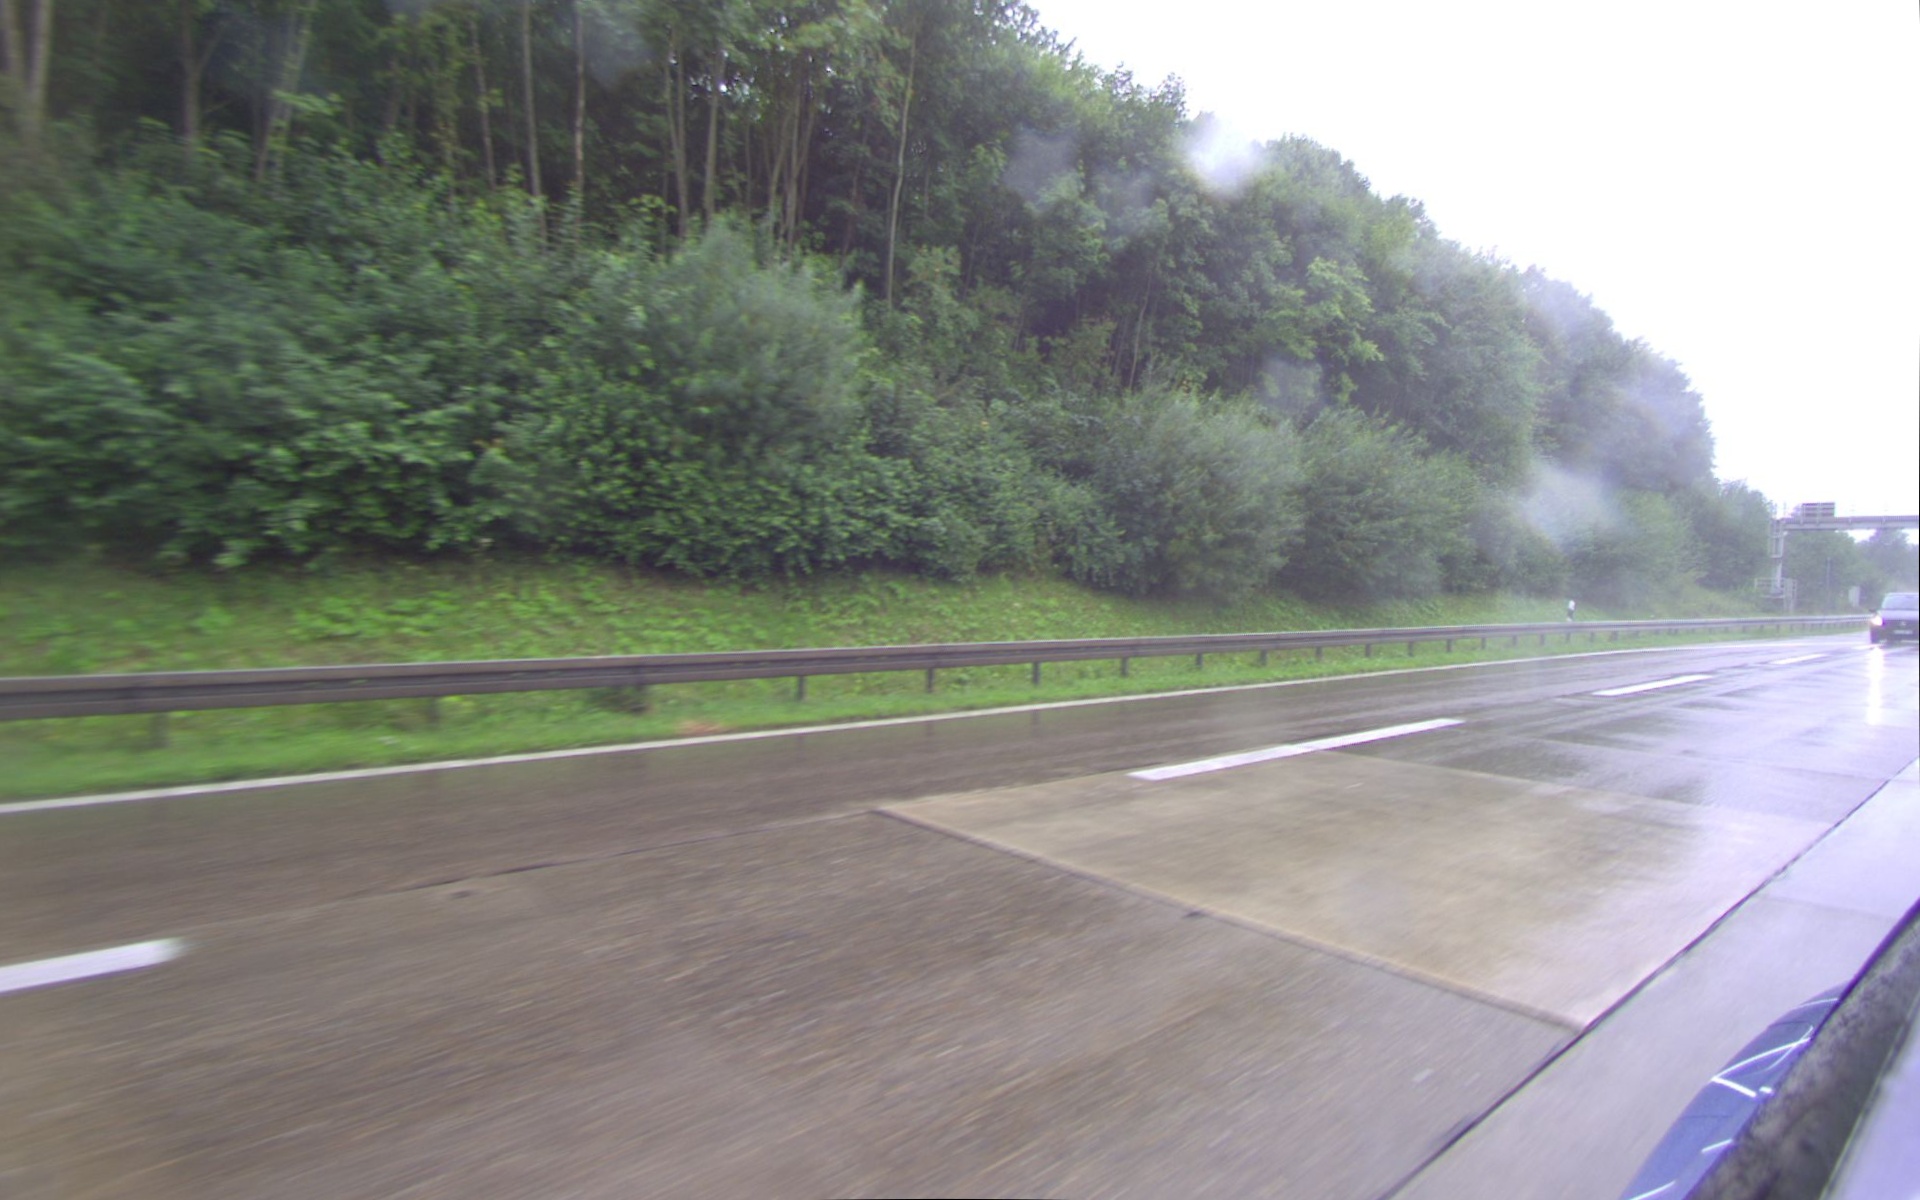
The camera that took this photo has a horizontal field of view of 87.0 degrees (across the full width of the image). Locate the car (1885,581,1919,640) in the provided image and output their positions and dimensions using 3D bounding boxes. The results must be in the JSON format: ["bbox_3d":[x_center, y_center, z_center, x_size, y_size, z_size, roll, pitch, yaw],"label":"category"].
[{"bbox_3d":[34.545,0.363,35.945,3.927,2.039,1.859,0,1,-38],"label":"car"}]
